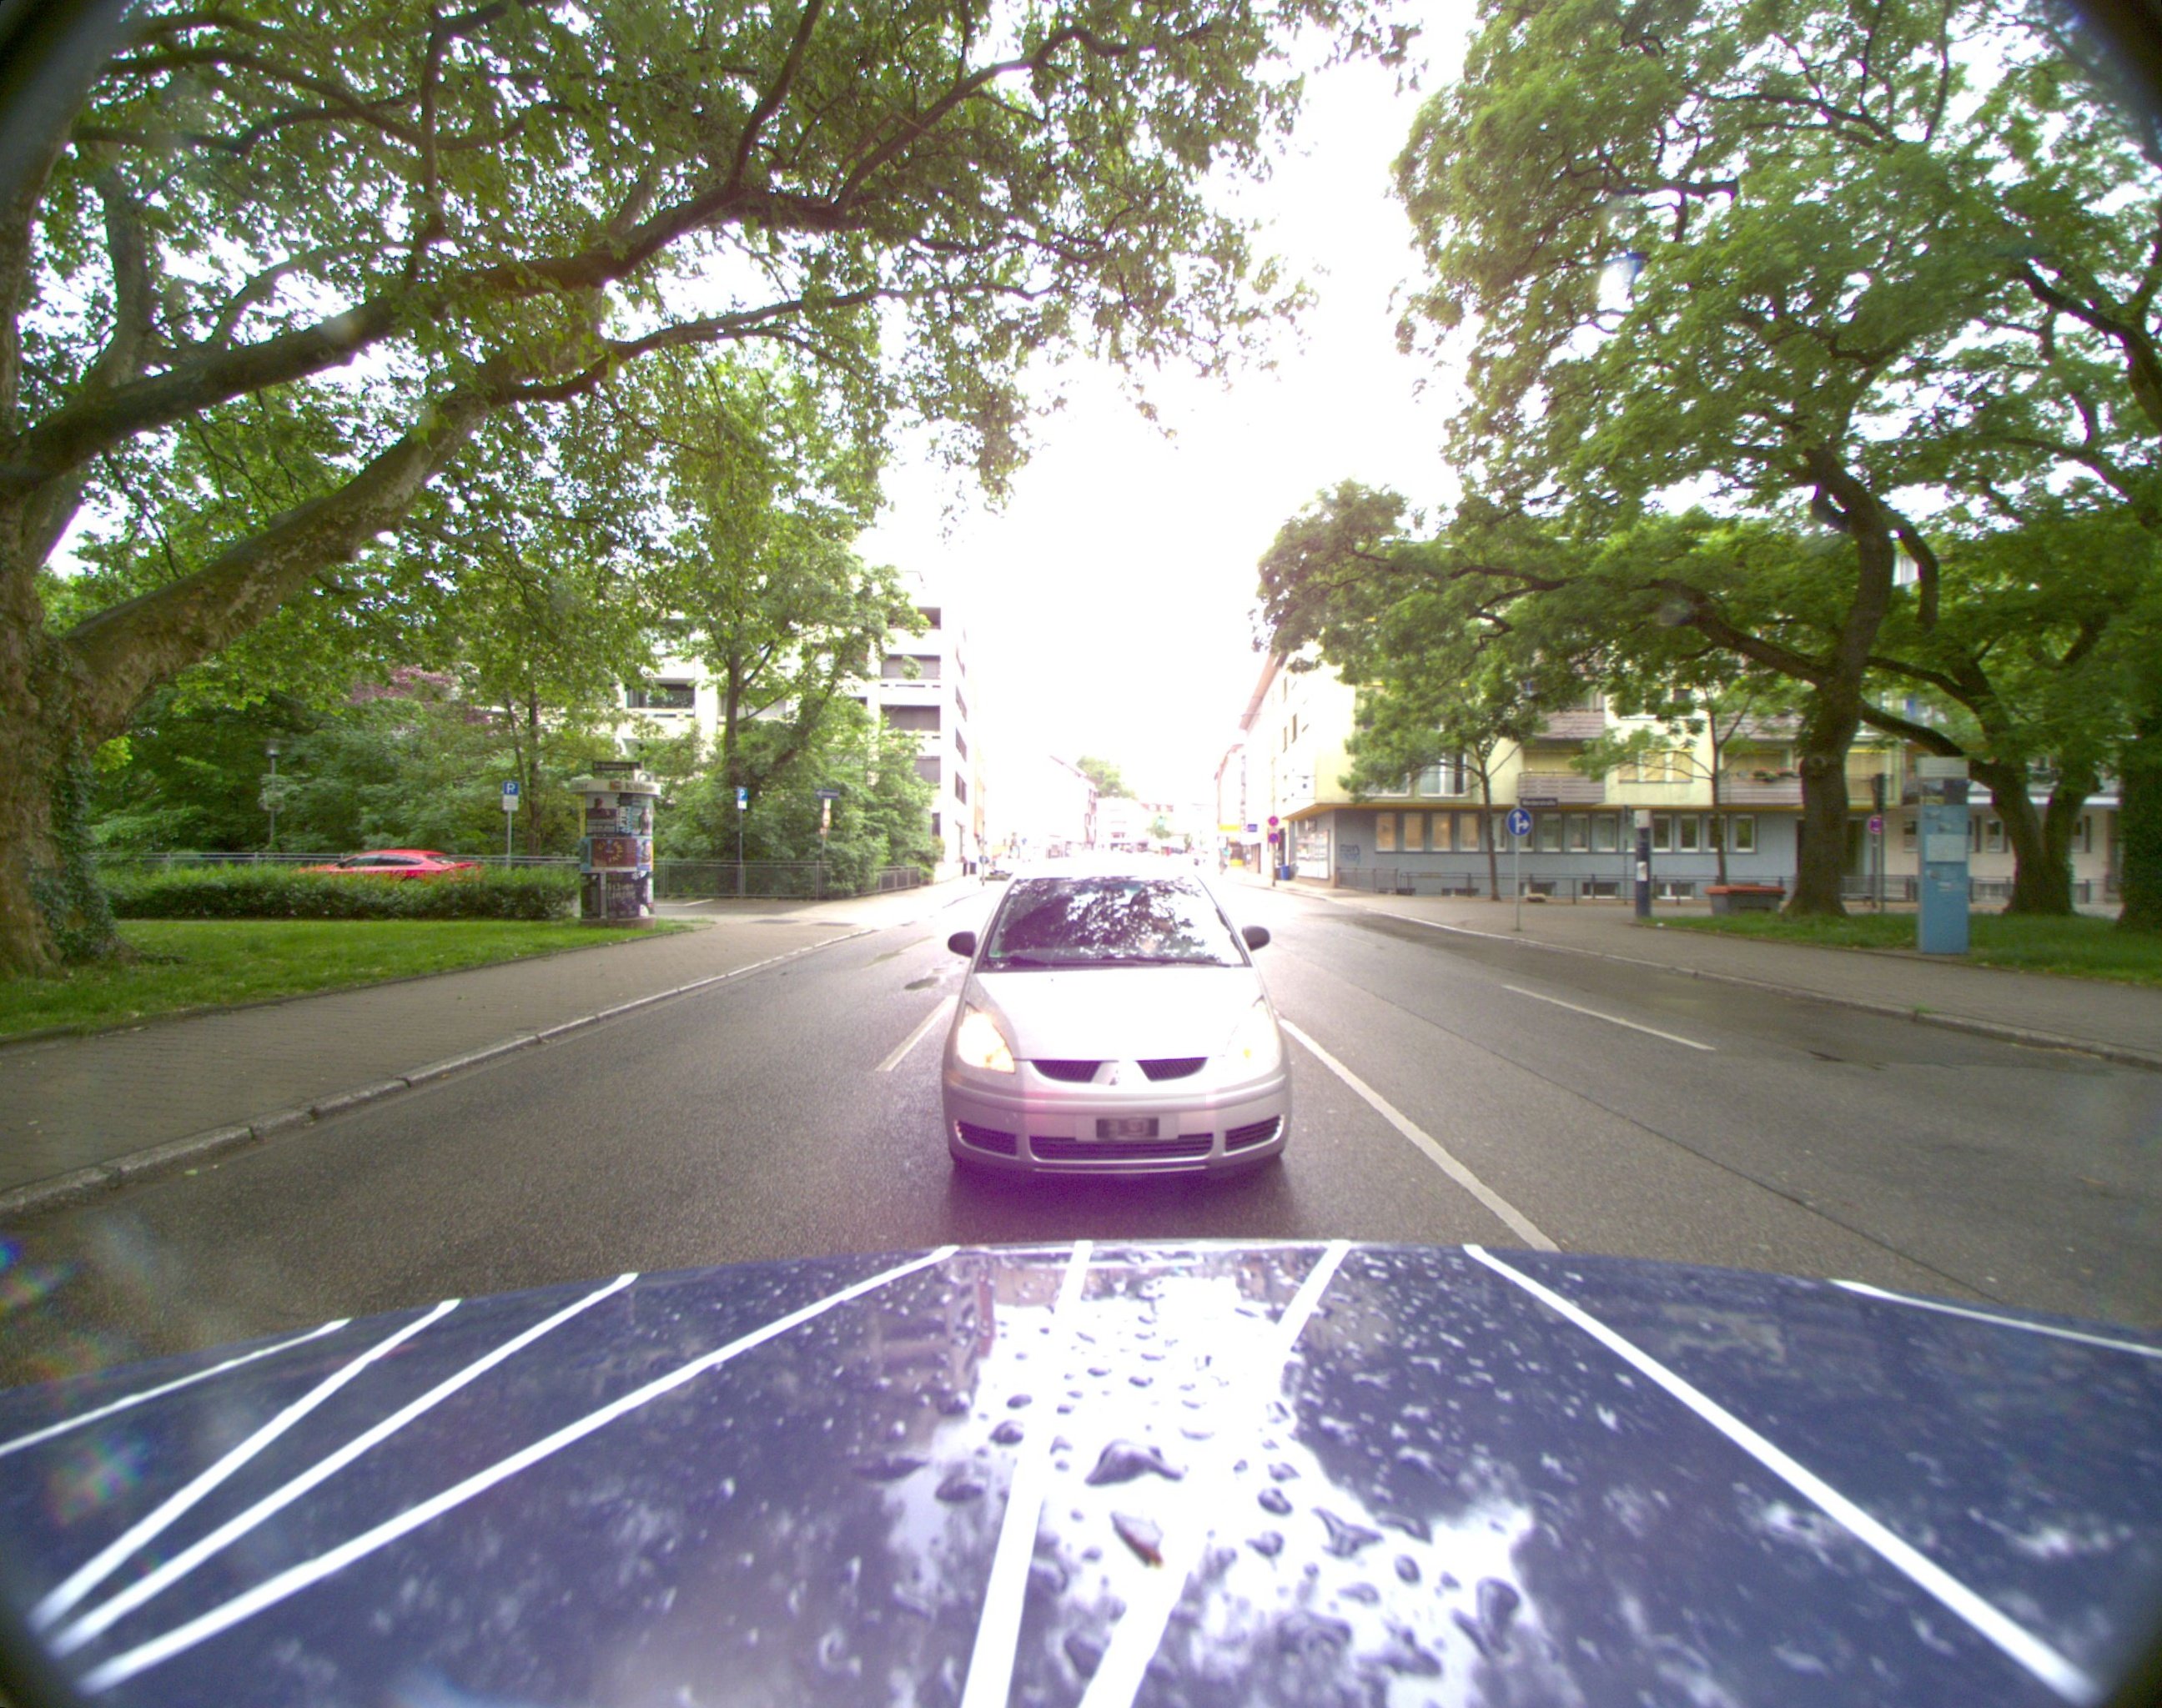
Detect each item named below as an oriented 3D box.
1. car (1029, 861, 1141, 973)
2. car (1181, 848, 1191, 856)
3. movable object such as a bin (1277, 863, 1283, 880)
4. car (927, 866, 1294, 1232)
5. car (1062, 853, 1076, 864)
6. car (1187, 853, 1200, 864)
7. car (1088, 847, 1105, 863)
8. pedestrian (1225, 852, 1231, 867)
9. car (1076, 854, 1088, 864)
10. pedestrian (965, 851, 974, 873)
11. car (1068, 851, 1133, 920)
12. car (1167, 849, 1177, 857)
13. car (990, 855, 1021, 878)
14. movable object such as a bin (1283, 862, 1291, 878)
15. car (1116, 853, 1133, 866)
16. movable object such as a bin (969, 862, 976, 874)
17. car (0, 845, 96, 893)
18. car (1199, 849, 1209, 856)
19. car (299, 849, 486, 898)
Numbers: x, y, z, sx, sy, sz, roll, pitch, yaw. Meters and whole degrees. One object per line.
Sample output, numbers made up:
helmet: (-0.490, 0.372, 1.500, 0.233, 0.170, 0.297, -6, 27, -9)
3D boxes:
car: (0.138, 0.923, 12.770, 1.590, 1.540, 3.771, 1, 0, 2)
car: (23.107, -0.410, 167.326, 1.998, 1.841, 4.001, 1, 0, 4)
movable object such as a bin: (12.696, 1.118, 48.502, 0.338, 1.023, 0.353, 1, 1, 8)
car: (0.157, 0.884, 4.951, 1.576, 1.514, 3.241, -1, 0, 1)
car: (-1.666, 0.636, 107.033, 1.802, 1.433, 3.896, 1, 0, 0)
car: (17.932, 0.697, 121.248, 1.889, 1.707, 4.001, 1, 0, 4)
car: (1.829, 0.045, 92.327, 1.935, 1.817, 3.999, -2, 1, 0)
pedestrian: (17.575, 0.664, 90.696, 0.594, 1.833, 0.565, 1, 1, 8)
car: (0.152, 0.670, 111.471, 1.802, 1.433, 3.897, 1, 0, 1)
pedestrian: (-8.019, 0.584, 54.547, 0.480, 1.521, 0.481, -2, 1, 1)
car: (0.487, 0.779, 20.795, 1.584, 1.705, 3.649, 1, 0, 0)
car: (19.366, -0.219, 161.793, 1.998, 1.631, 4.001, 1, 0, 4)
car: (-5.306, 0.866, 53.518, 1.681, 1.424, 3.681, 3, 0, 1)
movable object such as a bin: (13.084, 1.030, 48.231, 0.415, 1.023, 0.353, 1, 1, 8)
car: (4.901, 0.624, 86.022, 1.701, 1.433, 3.897, 1, 0, 1)
movable object such as a bin: (-8.985, 1.172, 62.944, 0.556, 1.035, 0.292, 1, 1, 0)
car: (-30.177, 0.394, 21.113, 3.468, 1.271, 1.448, 1, 1, -5)
car: (26.946, -0.317, 166.294, 1.867, 1.648, 4.001, 1, 0, 4)
car: (-19.433, 0.522, 21.565, 3.790, 1.271, 1.576, 1, 1, -3)
